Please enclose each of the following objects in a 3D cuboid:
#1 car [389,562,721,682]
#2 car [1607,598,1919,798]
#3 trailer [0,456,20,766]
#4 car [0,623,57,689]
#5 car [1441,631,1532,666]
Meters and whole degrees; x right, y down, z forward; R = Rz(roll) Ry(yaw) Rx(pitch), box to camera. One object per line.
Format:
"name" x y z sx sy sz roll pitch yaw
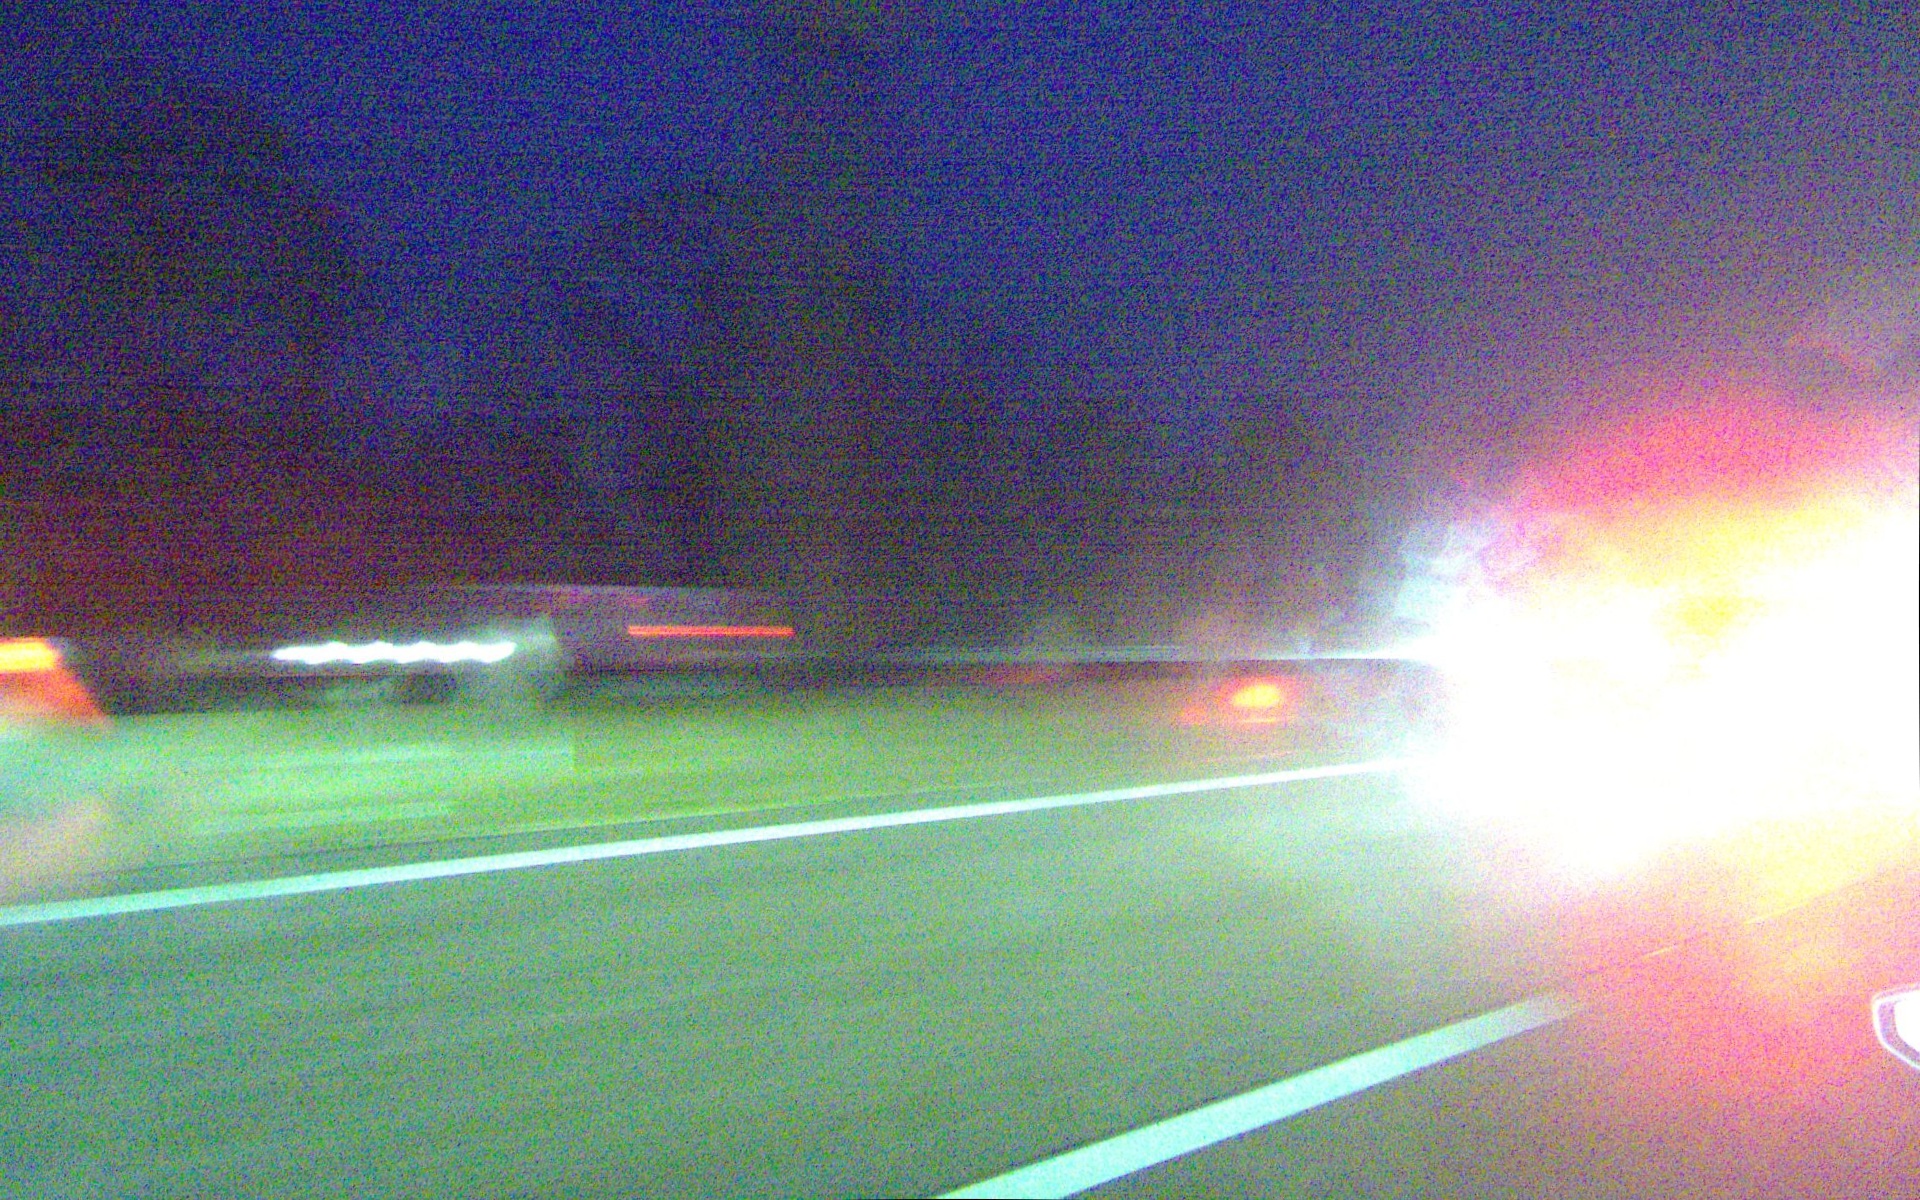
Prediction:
"car" -6.227 0.409 15.591 4.541 1.620 1.984 2 -4 -31
"car" 8.569 0.850 9.843 4.696 1.561 1.849 2 -1 -31
"trailer" -21.097 -0.025 11.645 14.411 4.912 2.909 2 -4 -31
"car" -21.960 1.167 20.806 4.540 1.395 1.552 2 -4 -31
"car" 21.942 1.983 41.860 3.956 1.361 1.642 1 0 -33
